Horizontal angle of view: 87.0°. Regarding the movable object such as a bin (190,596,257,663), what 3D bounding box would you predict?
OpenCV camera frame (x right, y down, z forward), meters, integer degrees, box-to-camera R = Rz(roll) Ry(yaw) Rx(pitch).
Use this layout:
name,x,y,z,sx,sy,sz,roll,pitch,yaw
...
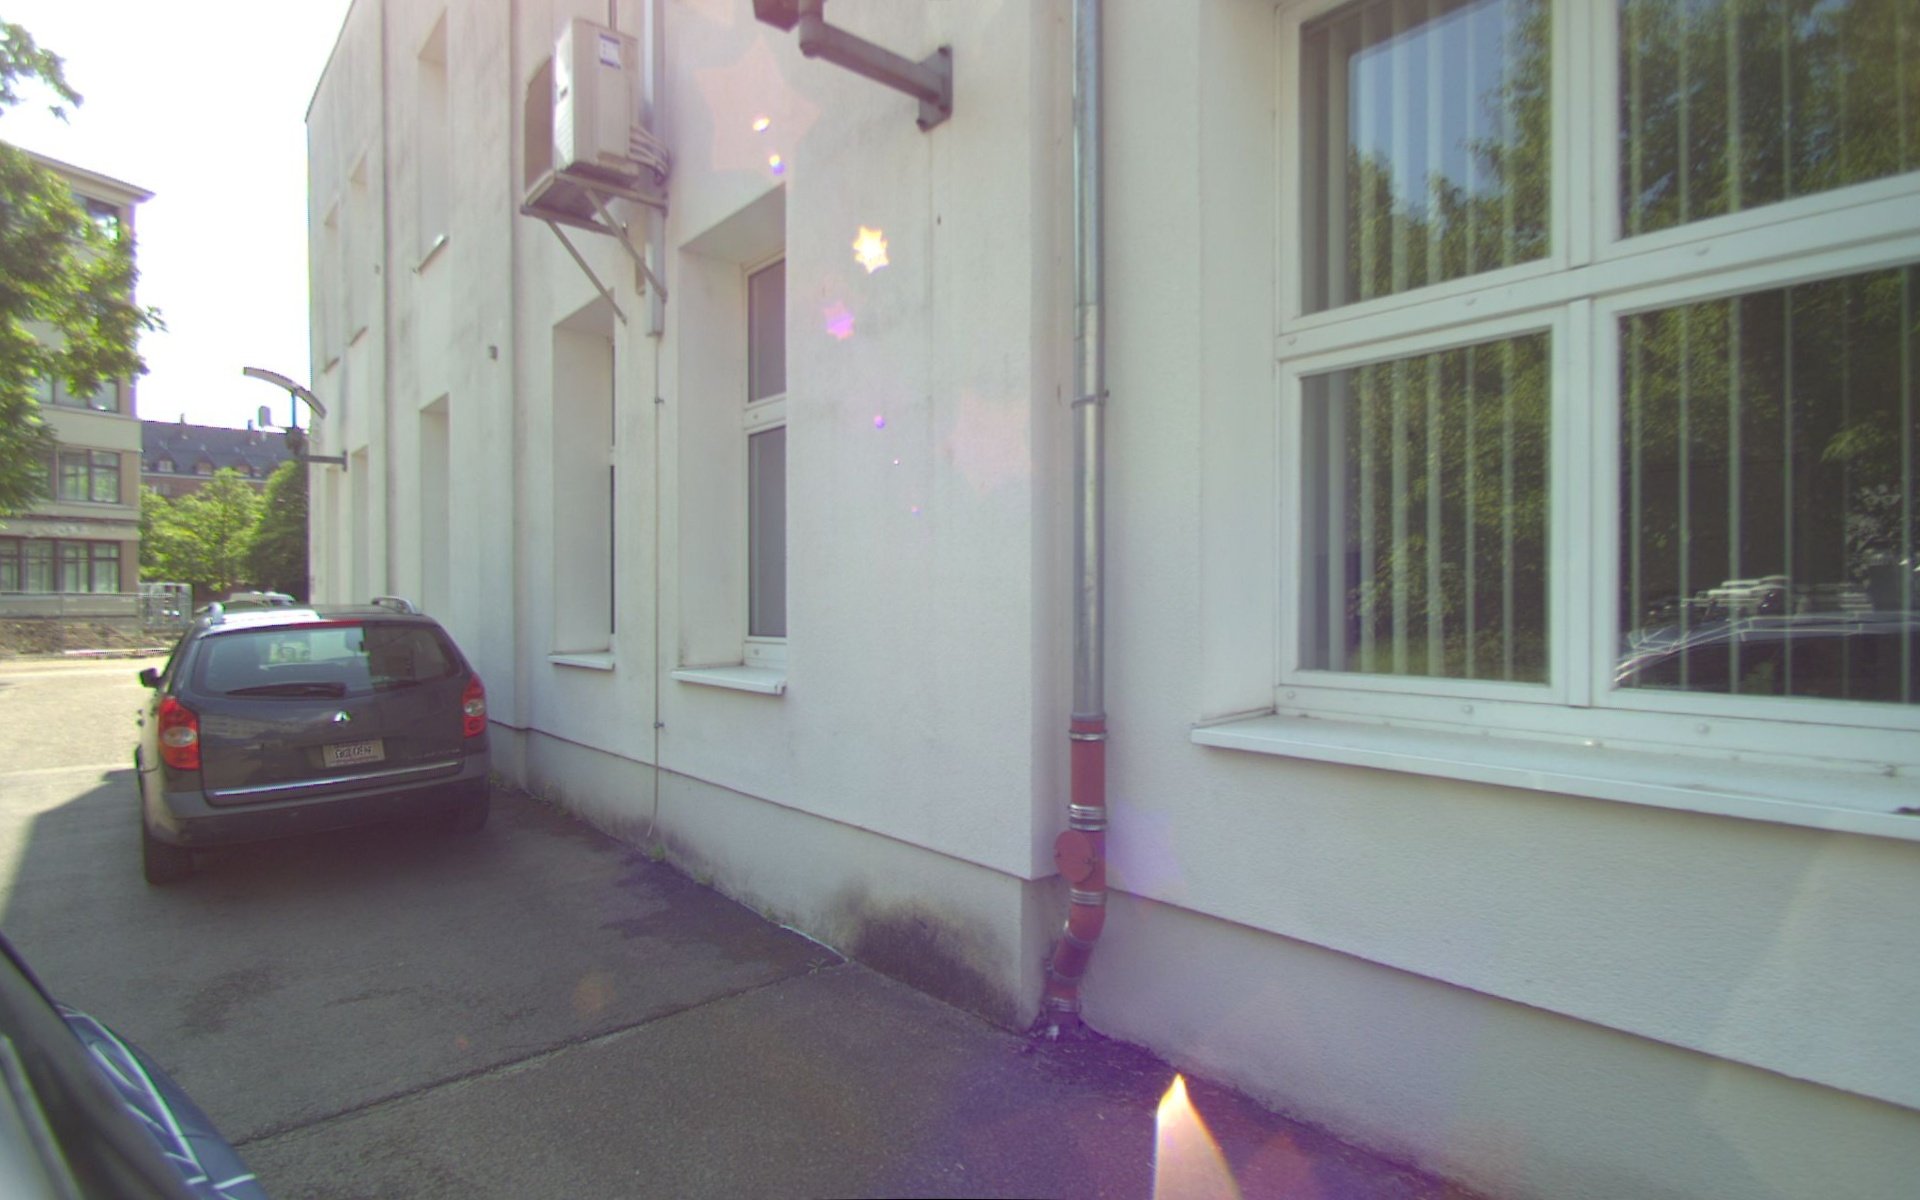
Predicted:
name,x,y,z,sx,sy,sz,roll,pitch,yaw
movable object such as a bin,-16.770,0.668,23.039,1.086,1.463,1.344,0,-3,-43

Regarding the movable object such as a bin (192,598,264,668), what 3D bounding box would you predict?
name,x,y,z,sx,sy,sz,roll,pitch,yaw
movable object such as a bin,-15.815,0.703,21.861,1.087,1.462,1.234,-1,-1,-45

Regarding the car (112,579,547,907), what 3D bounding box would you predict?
name,x,y,z,sx,sy,sz,roll,pitch,yaw
car,-4.428,0.610,6.743,1.856,1.453,4.348,0,1,-40

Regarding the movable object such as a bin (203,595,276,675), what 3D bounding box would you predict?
name,x,y,z,sx,sy,sz,roll,pitch,yaw
movable object such as a bin,-13.981,0.667,19.625,1.085,1.462,1.346,-1,-1,-38

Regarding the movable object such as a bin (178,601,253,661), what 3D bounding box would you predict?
name,x,y,z,sx,sy,sz,roll,pitch,yaw
movable object such as a bin,-19.040,0.804,25.926,1.228,1.493,1.300,0,-4,-21

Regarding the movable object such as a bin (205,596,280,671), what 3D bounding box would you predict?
name,x,y,z,sx,sy,sz,roll,pitch,yaw
movable object such as a bin,-14.723,0.691,20.765,1.208,1.463,1.285,-1,-3,-37

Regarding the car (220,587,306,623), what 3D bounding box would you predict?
name,x,y,z,sx,sy,sz,roll,pitch,yaw
car,-44.168,0.304,64.120,5.276,2.029,1.984,2,-1,24
